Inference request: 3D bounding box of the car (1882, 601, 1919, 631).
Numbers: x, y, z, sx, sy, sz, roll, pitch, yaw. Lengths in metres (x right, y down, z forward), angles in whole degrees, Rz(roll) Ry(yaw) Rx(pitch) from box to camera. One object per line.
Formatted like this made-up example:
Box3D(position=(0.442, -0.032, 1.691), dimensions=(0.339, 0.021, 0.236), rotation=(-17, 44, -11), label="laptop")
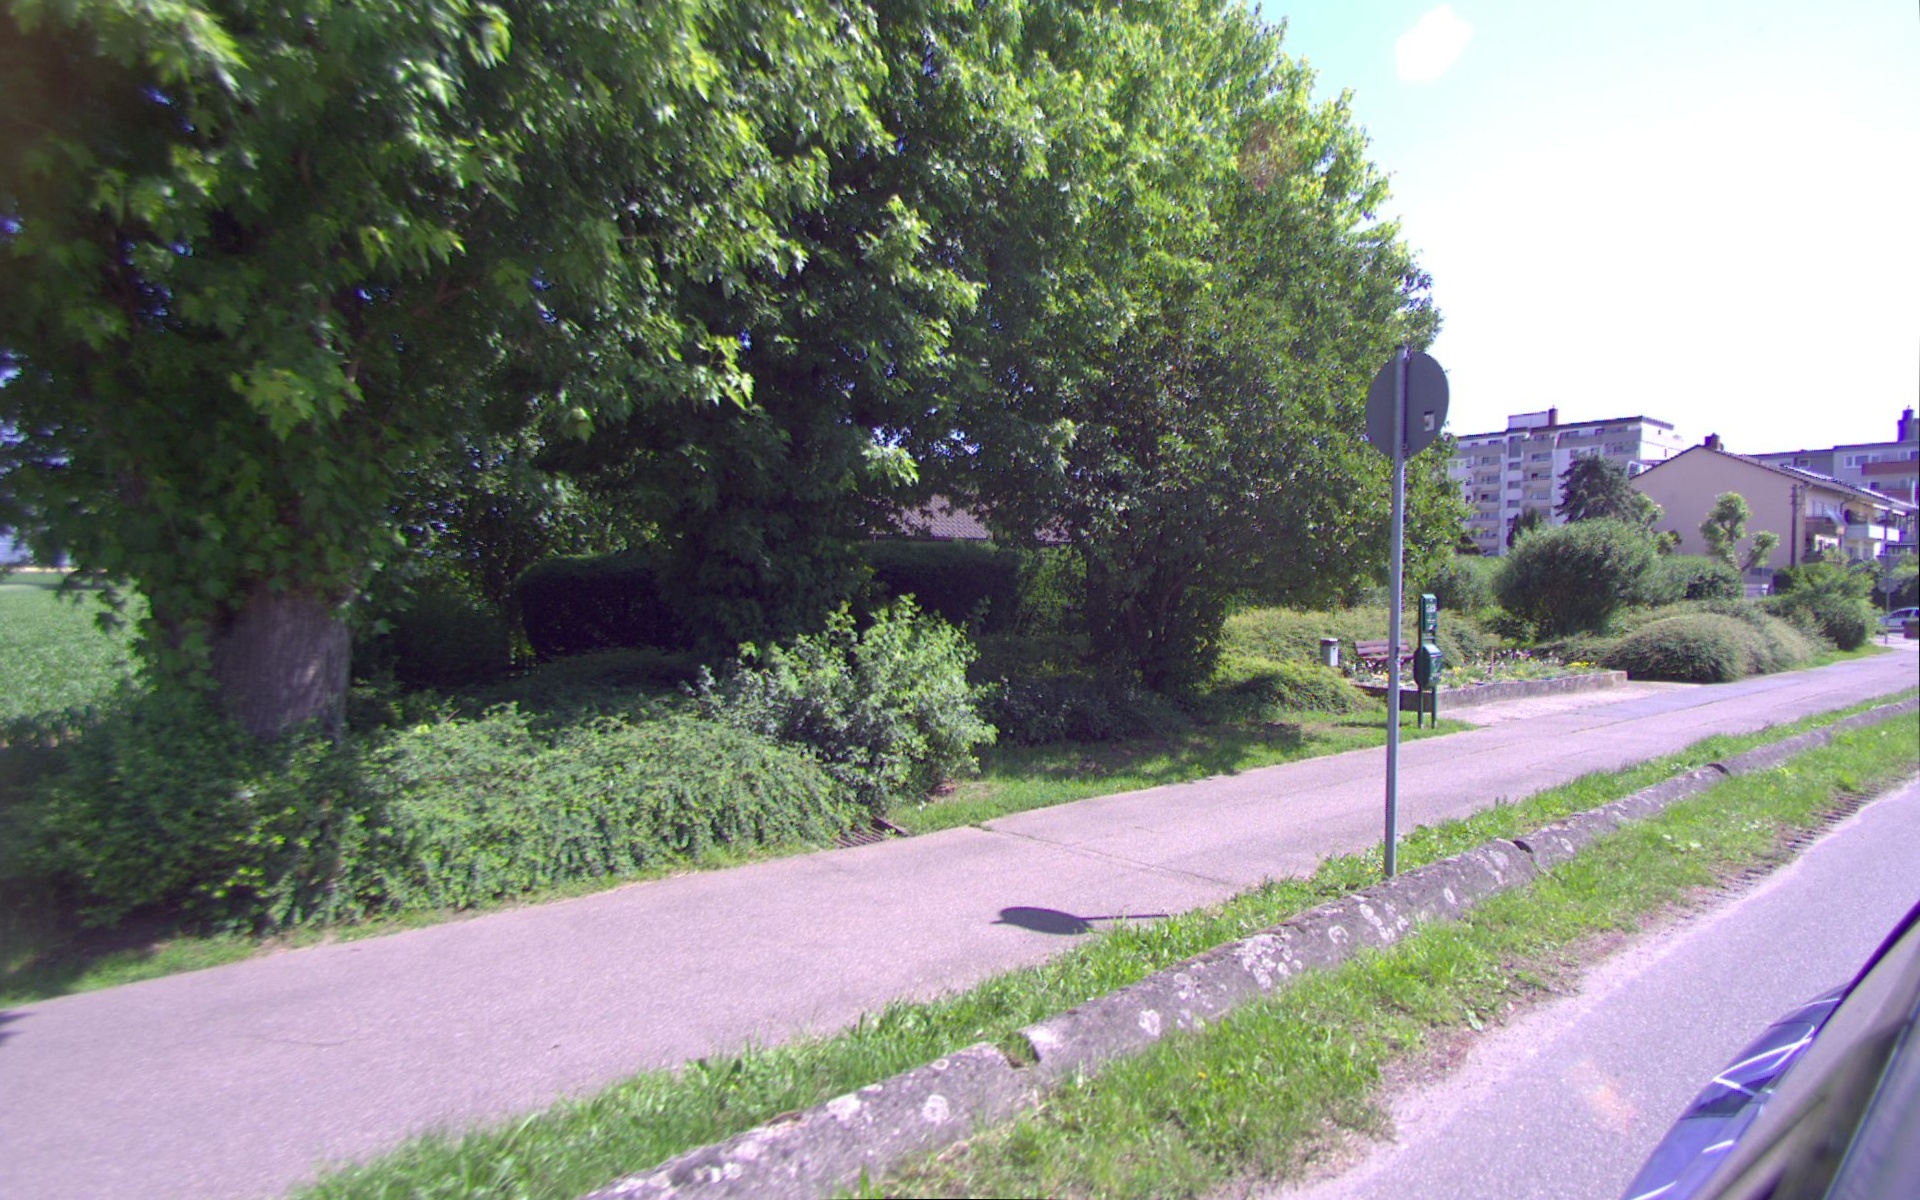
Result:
Box3D(position=(47.492, 0.782, 48.951), dimensions=(1.671, 1.421, 3.984), rotation=(0, 1, -30), label="car")
